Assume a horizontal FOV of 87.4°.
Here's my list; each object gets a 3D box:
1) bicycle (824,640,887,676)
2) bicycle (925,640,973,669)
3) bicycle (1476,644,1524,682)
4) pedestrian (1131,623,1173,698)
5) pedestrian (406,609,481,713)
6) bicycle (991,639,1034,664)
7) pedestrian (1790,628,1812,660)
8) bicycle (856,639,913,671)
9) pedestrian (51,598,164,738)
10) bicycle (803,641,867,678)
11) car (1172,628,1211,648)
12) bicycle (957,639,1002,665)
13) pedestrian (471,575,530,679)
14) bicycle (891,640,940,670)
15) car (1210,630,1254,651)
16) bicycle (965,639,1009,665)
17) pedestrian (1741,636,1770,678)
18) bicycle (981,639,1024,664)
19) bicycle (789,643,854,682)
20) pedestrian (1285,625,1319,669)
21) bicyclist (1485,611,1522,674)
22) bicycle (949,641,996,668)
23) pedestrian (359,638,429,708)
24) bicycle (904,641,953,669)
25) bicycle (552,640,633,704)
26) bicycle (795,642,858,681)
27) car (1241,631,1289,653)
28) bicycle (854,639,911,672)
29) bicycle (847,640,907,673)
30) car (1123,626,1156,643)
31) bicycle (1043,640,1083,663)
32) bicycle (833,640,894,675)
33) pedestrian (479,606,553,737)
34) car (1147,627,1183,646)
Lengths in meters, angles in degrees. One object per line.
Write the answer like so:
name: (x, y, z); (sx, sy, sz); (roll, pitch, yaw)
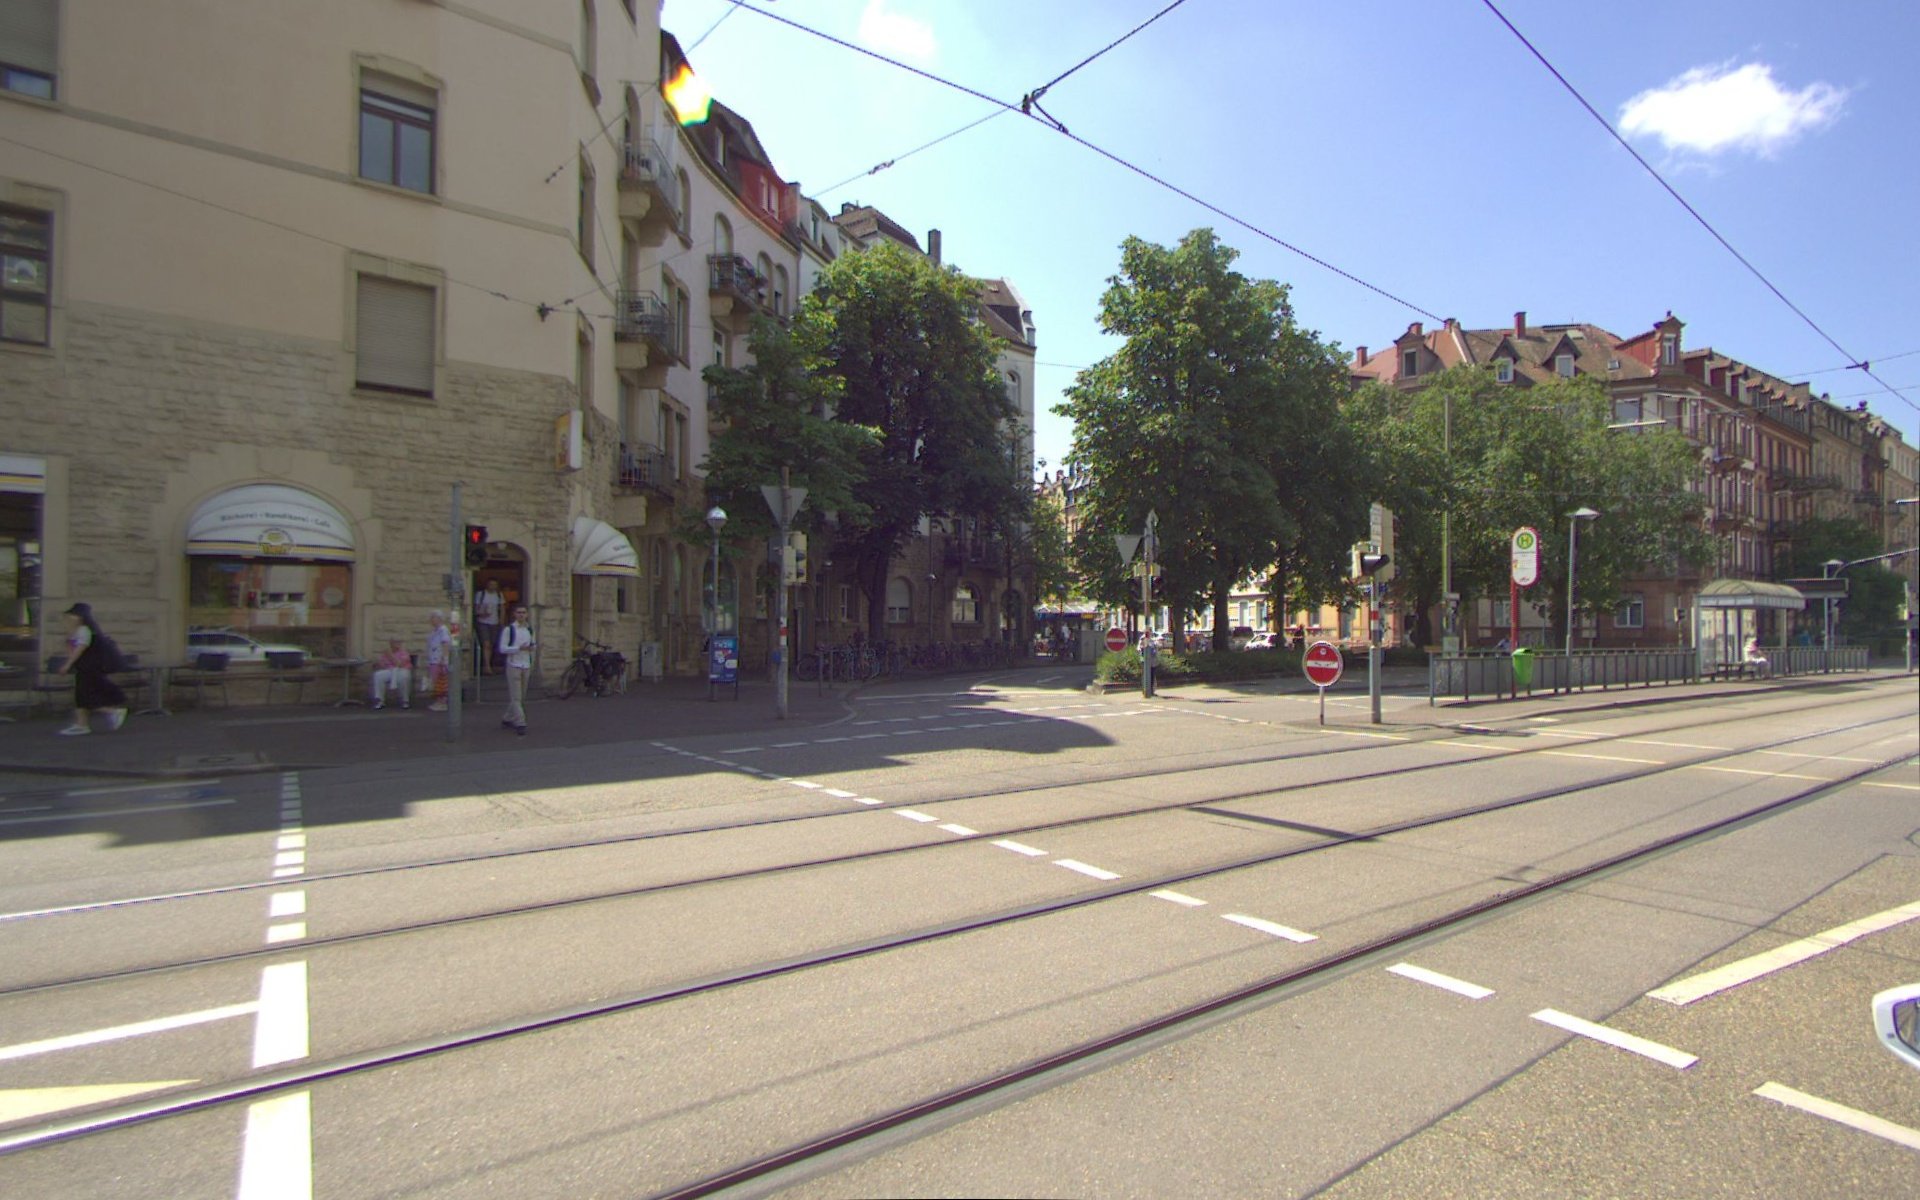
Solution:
bicycle: (-3.199, 1.765, 30.682); (1.818, 1.046, 0.545); (0, -2, 13)
bicycle: (-0.424, 2.095, 38.790); (1.823, 1.046, 0.543); (-1, -2, 31)
bicycle: (16.580, 1.925, 30.823); (1.701, 1.116, 0.723); (2, -2, -40)
pedestrian: (4.594, 1.429, 23.948); (0.824, 1.745, 0.919); (0, -2, 22)
pedestrian: (-8.335, 0.971, 16.211); (0.912, 1.616, 0.800); (1, -2, -39)
bicycle: (2.273, 2.234, 43.764); (1.823, 1.046, 0.543); (-1, -2, 30)
pedestrian: (47.729, 2.486, 57.005); (0.728, 1.835, 0.639); (1, -2, -15)
bicycle: (-2.527, 1.838, 33.686); (1.818, 1.046, 0.544); (0, -1, 2)
pedestrian: (-10.750, 0.831, 12.706); (1.018, 1.657, 0.853); (2, 0, -39)
bicycle: (-3.623, 1.733, 29.290); (1.820, 1.046, 0.544); (0, -1, -4)
car: (18.058, 2.964, 78.417); (1.656, 1.491, 3.463); (1, -2, -12)
bicycle: (0.792, 2.149, 41.660); (1.823, 1.046, 0.543); (-1, -2, 30)
pedestrian: (-8.534, 0.510, 18.659); (0.814, 1.876, 0.755); (2, -2, -39)
bicycle: (-1.671, 2.033, 37.256); (1.823, 1.046, 0.543); (-1, -2, 31)
car: (19.547, 2.885, 72.229); (1.656, 1.491, 3.463); (1, -2, -12)
bicycle: (1.139, 2.168, 42.178); (1.823, 1.046, 0.543); (-1, -2, 30)
pedestrian: (23.956, 1.713, 30.252); (0.623, 1.259, 0.608); (2, -2, -43)
bicycle: (1.819, 2.201, 42.989); (1.823, 1.046, 0.543); (-1, -2, 30)
bicycle: (-3.731, 1.694, 27.213); (1.698, 1.046, 0.544); (0, -1, -4)
pedestrian: (14.893, 2.055, 43.801); (1.001, 1.893, 0.999); (1, -2, -18)
bicyclist: (16.694, 1.292, 30.877); (0.818, 1.895, 0.717); (1, -2, -37)
bicycle: (0.494, 2.148, 39.955); (1.823, 1.046, 0.543); (-1, -2, 31)
pedestrian: (-9.251, 1.174, 16.411); (0.874, 1.092, 0.909); (1, -2, -37)
bicycle: (-1.197, 2.067, 37.990); (1.823, 1.046, 0.543); (-1, -2, 31)
bicycle: (-6.928, 1.354, 19.009); (0.533, 1.143, 1.684); (0, -3, 15)
bicycle: (-3.699, 1.707, 27.896); (1.698, 1.046, 0.544); (0, -1, -4)
car: (20.755, 2.855, 68.541); (1.656, 1.491, 3.463); (1, -2, -12)
bicycle: (-2.544, 1.827, 33.057); (1.818, 1.046, 0.544); (0, -1, 2)
bicycle: (-2.665, 1.805, 32.199); (1.818, 1.046, 0.545); (0, -1, 9)
car: (15.850, 3.067, 88.792); (1.656, 1.491, 3.463); (1, -2, -12)
bicycle: (4.787, 2.378, 46.766); (1.823, 1.046, 0.543); (-1, -2, 30)
bicycle: (-3.018, 1.796, 31.481); (1.818, 1.046, 0.545); (0, -2, 12)
pedestrian: (-6.235, 0.967, 14.094); (0.768, 1.755, 0.854); (1, 0, -36)
car: (16.931, 3.021, 83.191); (1.656, 1.491, 3.463); (1, -2, -12)
